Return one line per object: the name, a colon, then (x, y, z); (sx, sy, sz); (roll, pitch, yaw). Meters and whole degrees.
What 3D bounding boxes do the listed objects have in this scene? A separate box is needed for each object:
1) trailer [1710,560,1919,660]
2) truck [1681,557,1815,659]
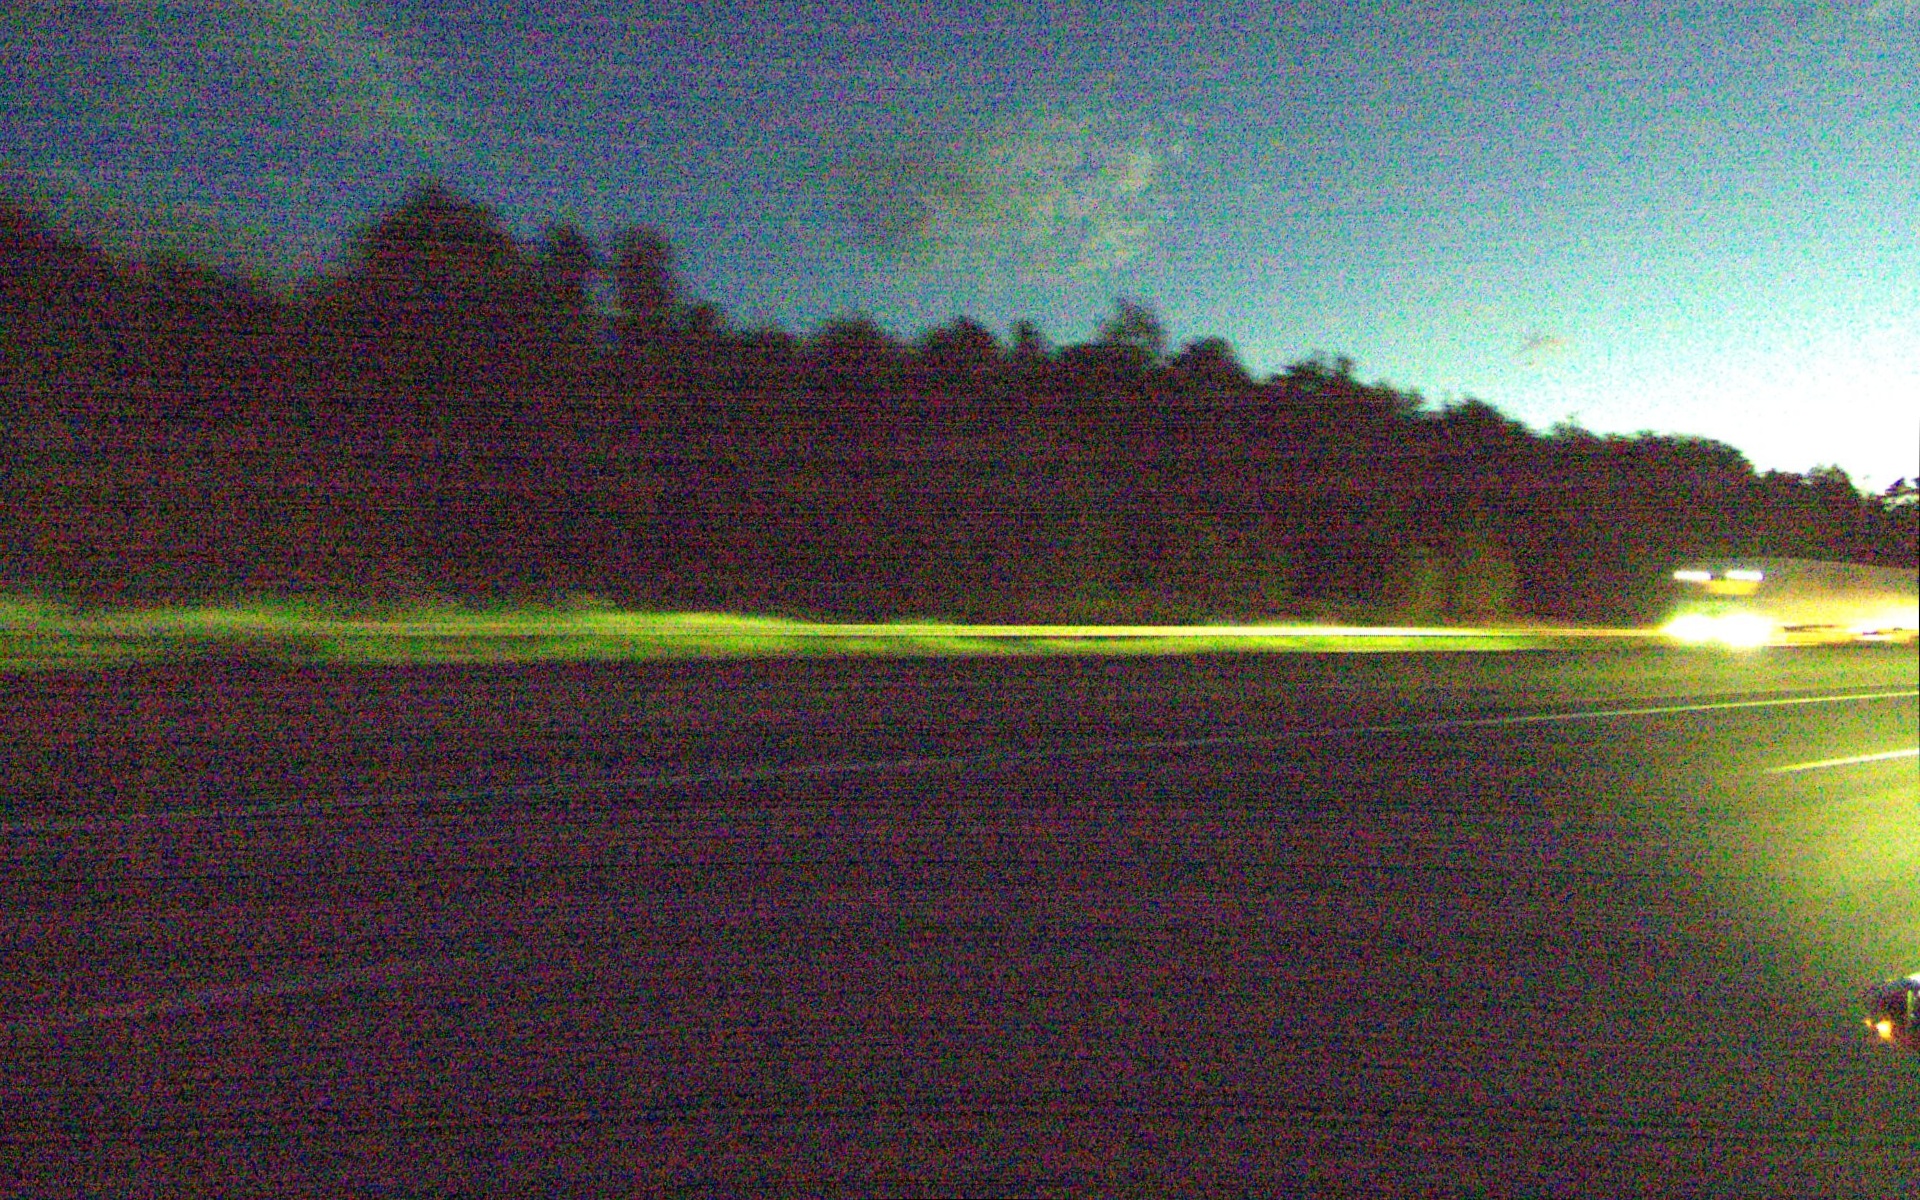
trailer: (42.120, 0.683, 48.344); (17.038, 4.273, 2.678); (2, -1, -28)
truck: (34.923, 0.429, 44.513); (5.352, 4.254, 2.703); (2, -1, -28)
